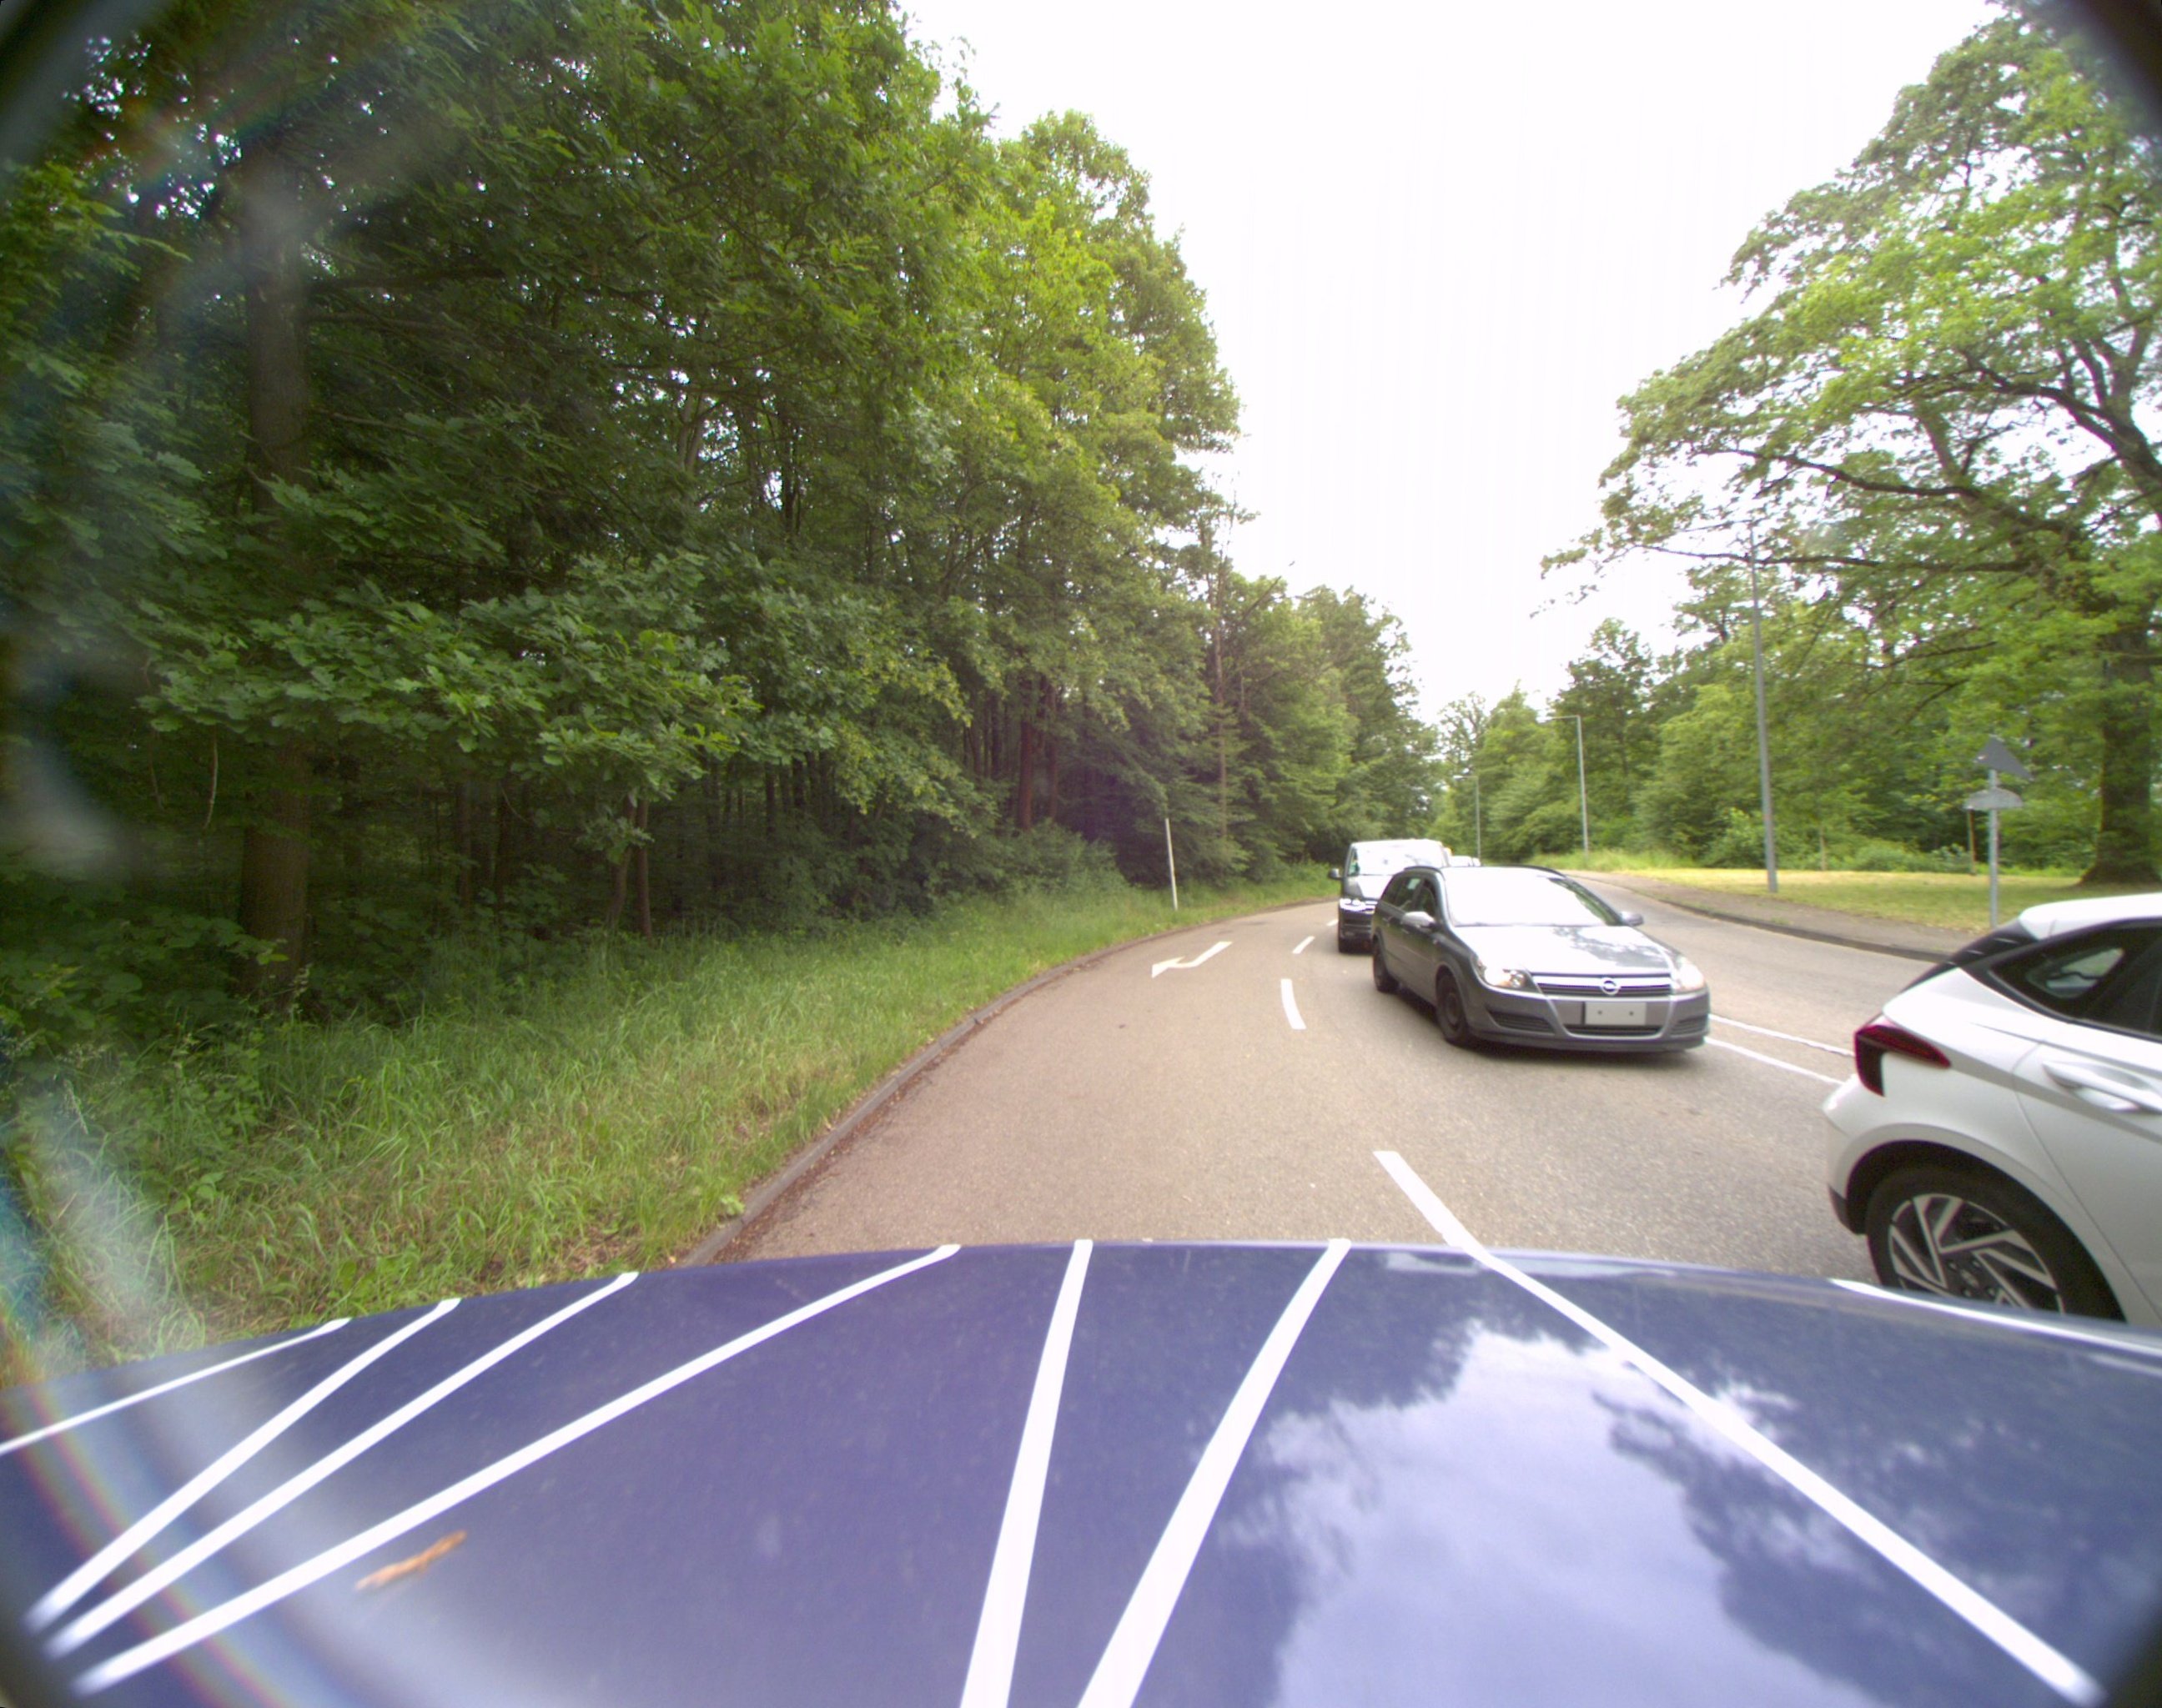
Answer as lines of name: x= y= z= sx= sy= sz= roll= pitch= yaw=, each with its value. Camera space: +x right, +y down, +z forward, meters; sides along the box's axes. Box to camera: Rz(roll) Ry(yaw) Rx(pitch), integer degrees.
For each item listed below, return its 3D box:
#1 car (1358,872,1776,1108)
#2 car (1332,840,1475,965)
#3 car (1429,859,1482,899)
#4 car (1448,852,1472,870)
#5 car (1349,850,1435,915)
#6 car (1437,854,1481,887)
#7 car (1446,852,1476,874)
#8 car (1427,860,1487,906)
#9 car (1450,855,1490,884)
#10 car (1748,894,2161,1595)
car: x=3.998 y=0.951 z=7.267 sx=1.801 sy=1.470 sz=4.474 roll=-1 pitch=-1 yaw=11
car: x=5.738 y=0.763 z=13.822 sx=1.987 sy=1.861 sz=4.539 roll=-1 pitch=-1 yaw=21
car: x=15.197 y=0.984 z=30.942 sx=1.775 sy=1.490 sz=3.880 roll=-2 pitch=-1 yaw=25
car: x=34.158 y=0.619 z=68.466 sx=1.775 sy=1.490 sz=3.880 roll=-2 pitch=-1 yaw=28
car: x=8.928 y=0.771 z=21.655 sx=1.790 sy=1.664 sz=3.998 roll=-2 pitch=-1 yaw=28
car: x=18.151 y=0.754 z=36.580 sx=1.775 sy=1.490 sz=3.880 roll=-2 pitch=-1 yaw=25
car: x=27.232 y=0.648 z=54.374 sx=1.775 sy=1.490 sz=3.880 roll=-2 pitch=-1 yaw=28
car: x=13.370 y=0.996 z=27.166 sx=1.775 sy=1.490 sz=3.880 roll=-2 pitch=-1 yaw=25
car: x=20.947 y=0.807 z=41.016 sx=1.775 sy=1.490 sz=3.880 roll=-2 pitch=-1 yaw=25
car: x=3.138 y=0.862 z=0.657 sx=1.653 sy=1.470 sz=4.074 roll=-1 pitch=-1 yaw=3
